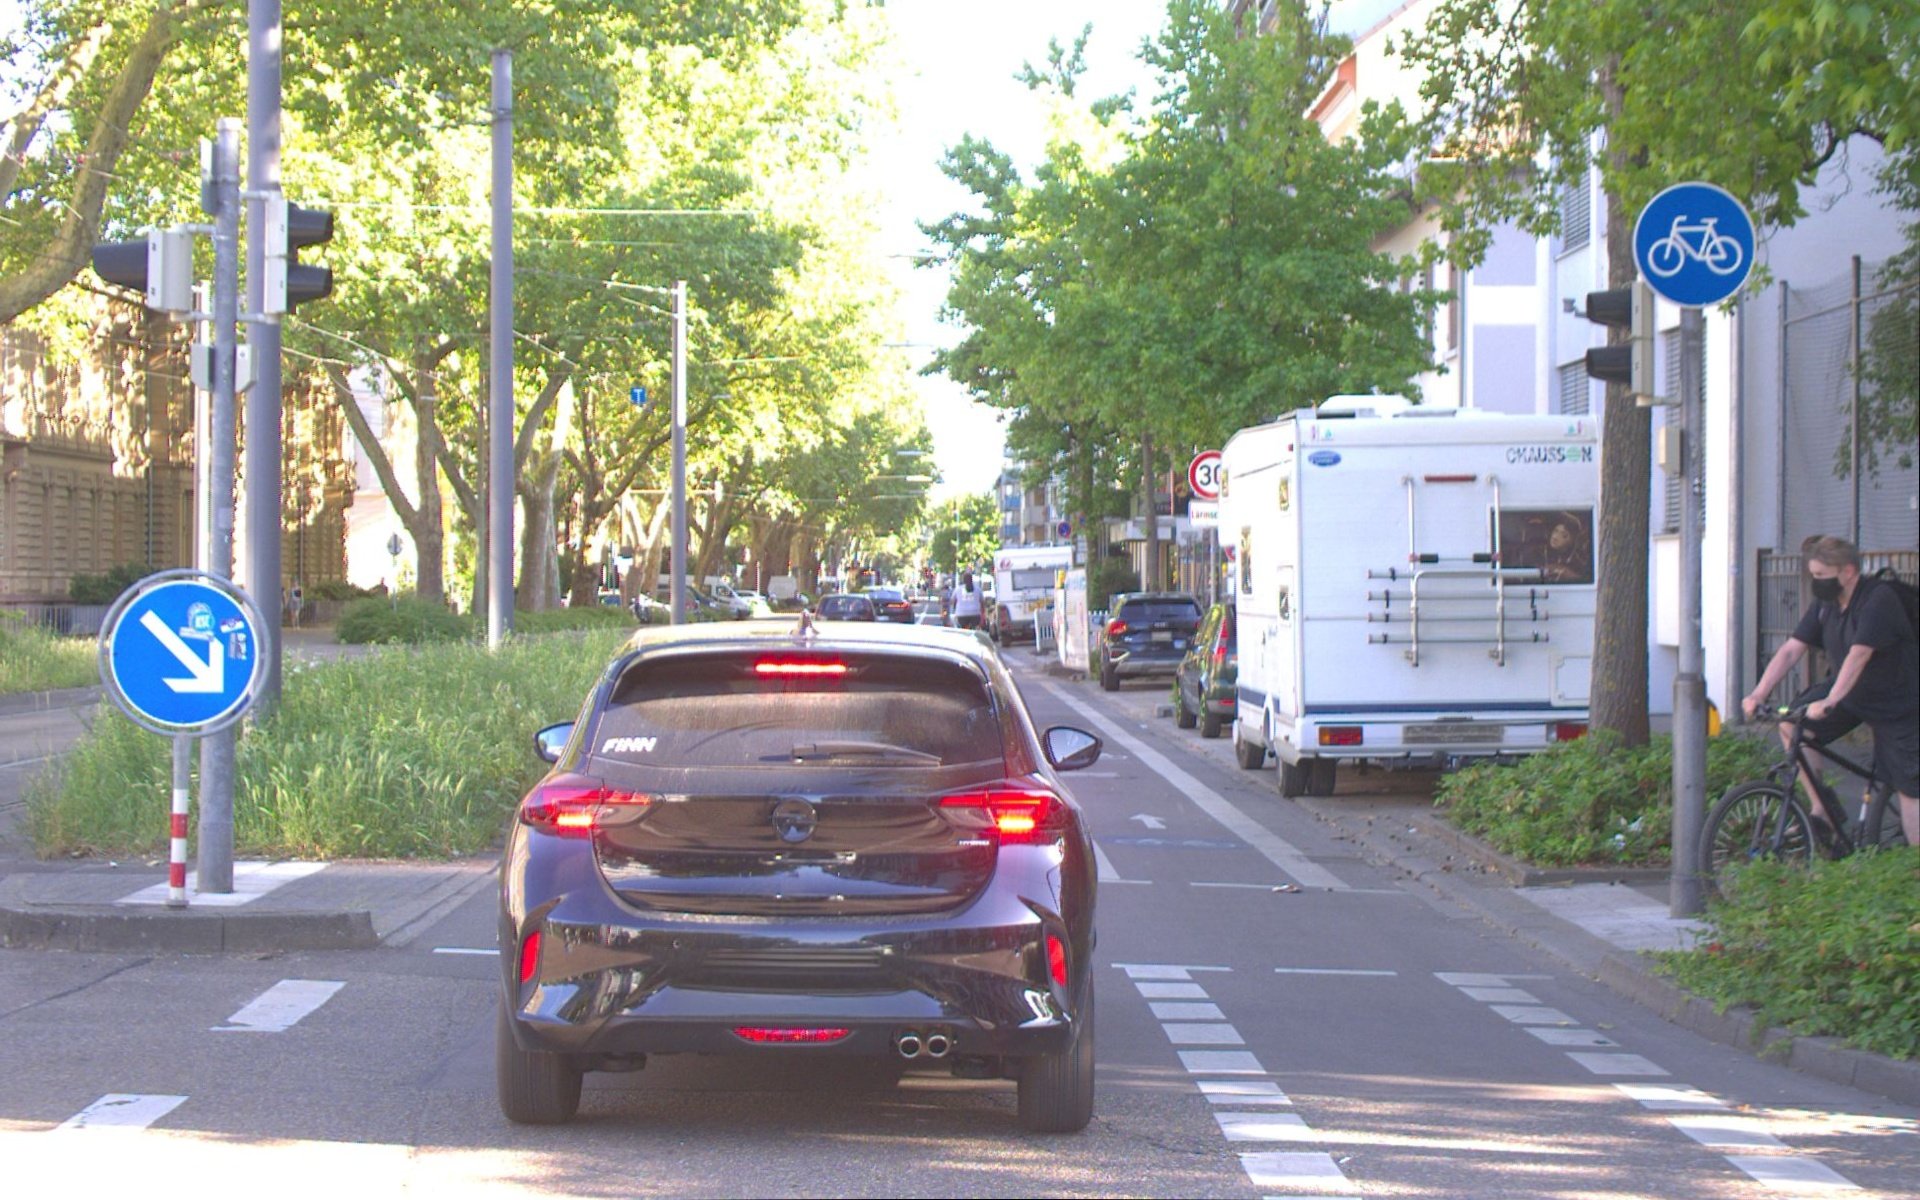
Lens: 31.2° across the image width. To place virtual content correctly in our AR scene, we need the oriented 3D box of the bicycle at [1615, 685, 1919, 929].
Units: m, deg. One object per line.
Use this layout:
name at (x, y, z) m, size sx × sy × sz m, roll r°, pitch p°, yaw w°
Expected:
bicycle at (4.061, 0.941, 16.052) m, size 1.944 × 1.066 × 0.641 m, roll 1°, pitch 0°, yaw -24°

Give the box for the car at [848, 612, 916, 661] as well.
car at (-2.391, 1.120, 106.604) m, size 1.905 × 1.420 × 4.215 m, roll 1°, pitch 0°, yaw 1°

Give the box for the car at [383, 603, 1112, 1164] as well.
car at (-0.523, 0.748, 11.174) m, size 1.905 × 1.420 × 4.215 m, roll 1°, pitch 0°, yaw 1°

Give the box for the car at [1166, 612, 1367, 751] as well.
car at (3.286, 0.844, 37.495) m, size 1.685 × 1.416 × 4.049 m, roll 0°, pitch 0°, yaw -2°

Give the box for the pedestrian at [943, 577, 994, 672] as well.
pedestrian at (0.182, 0.518, 73.958) m, size 1.036 × 2.017 × 1.212 m, roll 1°, pitch 0°, yaw -1°

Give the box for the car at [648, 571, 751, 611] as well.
car at (-14.884, -0.523, 196.937) m, size 5.687 × 2.190 × 2.289 m, roll 1°, pitch 0°, yaw 0°

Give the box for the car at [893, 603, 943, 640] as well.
car at (-1.708, 0.874, 141.703) m, size 1.905 × 1.420 × 4.215 m, roll 1°, pitch 0°, yaw 1°

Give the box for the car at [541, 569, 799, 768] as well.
car at (-2.609, 0.587, 31.953) m, size 1.993 × 1.622 × 4.470 m, roll 3°, pitch 0°, yaw -1°

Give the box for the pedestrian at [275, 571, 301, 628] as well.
pedestrian at (-20.792, -0.011, 106.351) m, size 0.618 × 1.727 × 0.596 m, roll 3°, pitch 0°, yaw -1°

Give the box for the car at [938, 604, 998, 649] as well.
car at (0.290, 0.875, 115.947) m, size 1.905 × 1.420 × 4.215 m, roll 1°, pitch 0°, yaw 1°

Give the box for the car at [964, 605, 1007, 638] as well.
car at (1.193, 0.987, 158.601) m, size 1.905 × 1.420 × 4.215 m, roll 1°, pitch 0°, yaw 1°

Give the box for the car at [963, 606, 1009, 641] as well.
car at (1.142, 0.993, 147.476) m, size 1.905 × 1.420 × 4.215 m, roll 1°, pitch 0°, yaw 1°

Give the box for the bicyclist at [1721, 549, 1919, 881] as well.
bicyclist at (4.079, 0.521, 16.056) m, size 0.699 × 1.505 × 0.751 m, roll 1°, pitch 0°, yaw -24°

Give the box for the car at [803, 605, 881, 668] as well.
car at (-2.957, 0.906, 86.878) m, size 1.790 × 1.505 × 3.874 m, roll -1°, pitch 0°, yaw 1°

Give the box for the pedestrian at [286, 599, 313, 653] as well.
pedestrian at (-20.458, 0.803, 106.490) m, size 0.658 × 1.616 × 0.615 m, roll 3°, pitch 0°, yaw -1°

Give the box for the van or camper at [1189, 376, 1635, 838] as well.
van or camper at (3.389, 0.042, 27.631) m, size 2.375 × 3.115 × 7.551 m, roll -2°, pitch 0°, yaw -1°

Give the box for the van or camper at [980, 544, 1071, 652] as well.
van or camper at (1.919, -0.049, 101.186) m, size 2.486 × 2.983 × 5.434 m, roll 3°, pitch 0°, yaw 1°

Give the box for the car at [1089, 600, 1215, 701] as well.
car at (3.000, 0.768, 54.445) m, size 1.790 × 1.505 × 3.874 m, roll -1°, pitch 0°, yaw 1°
